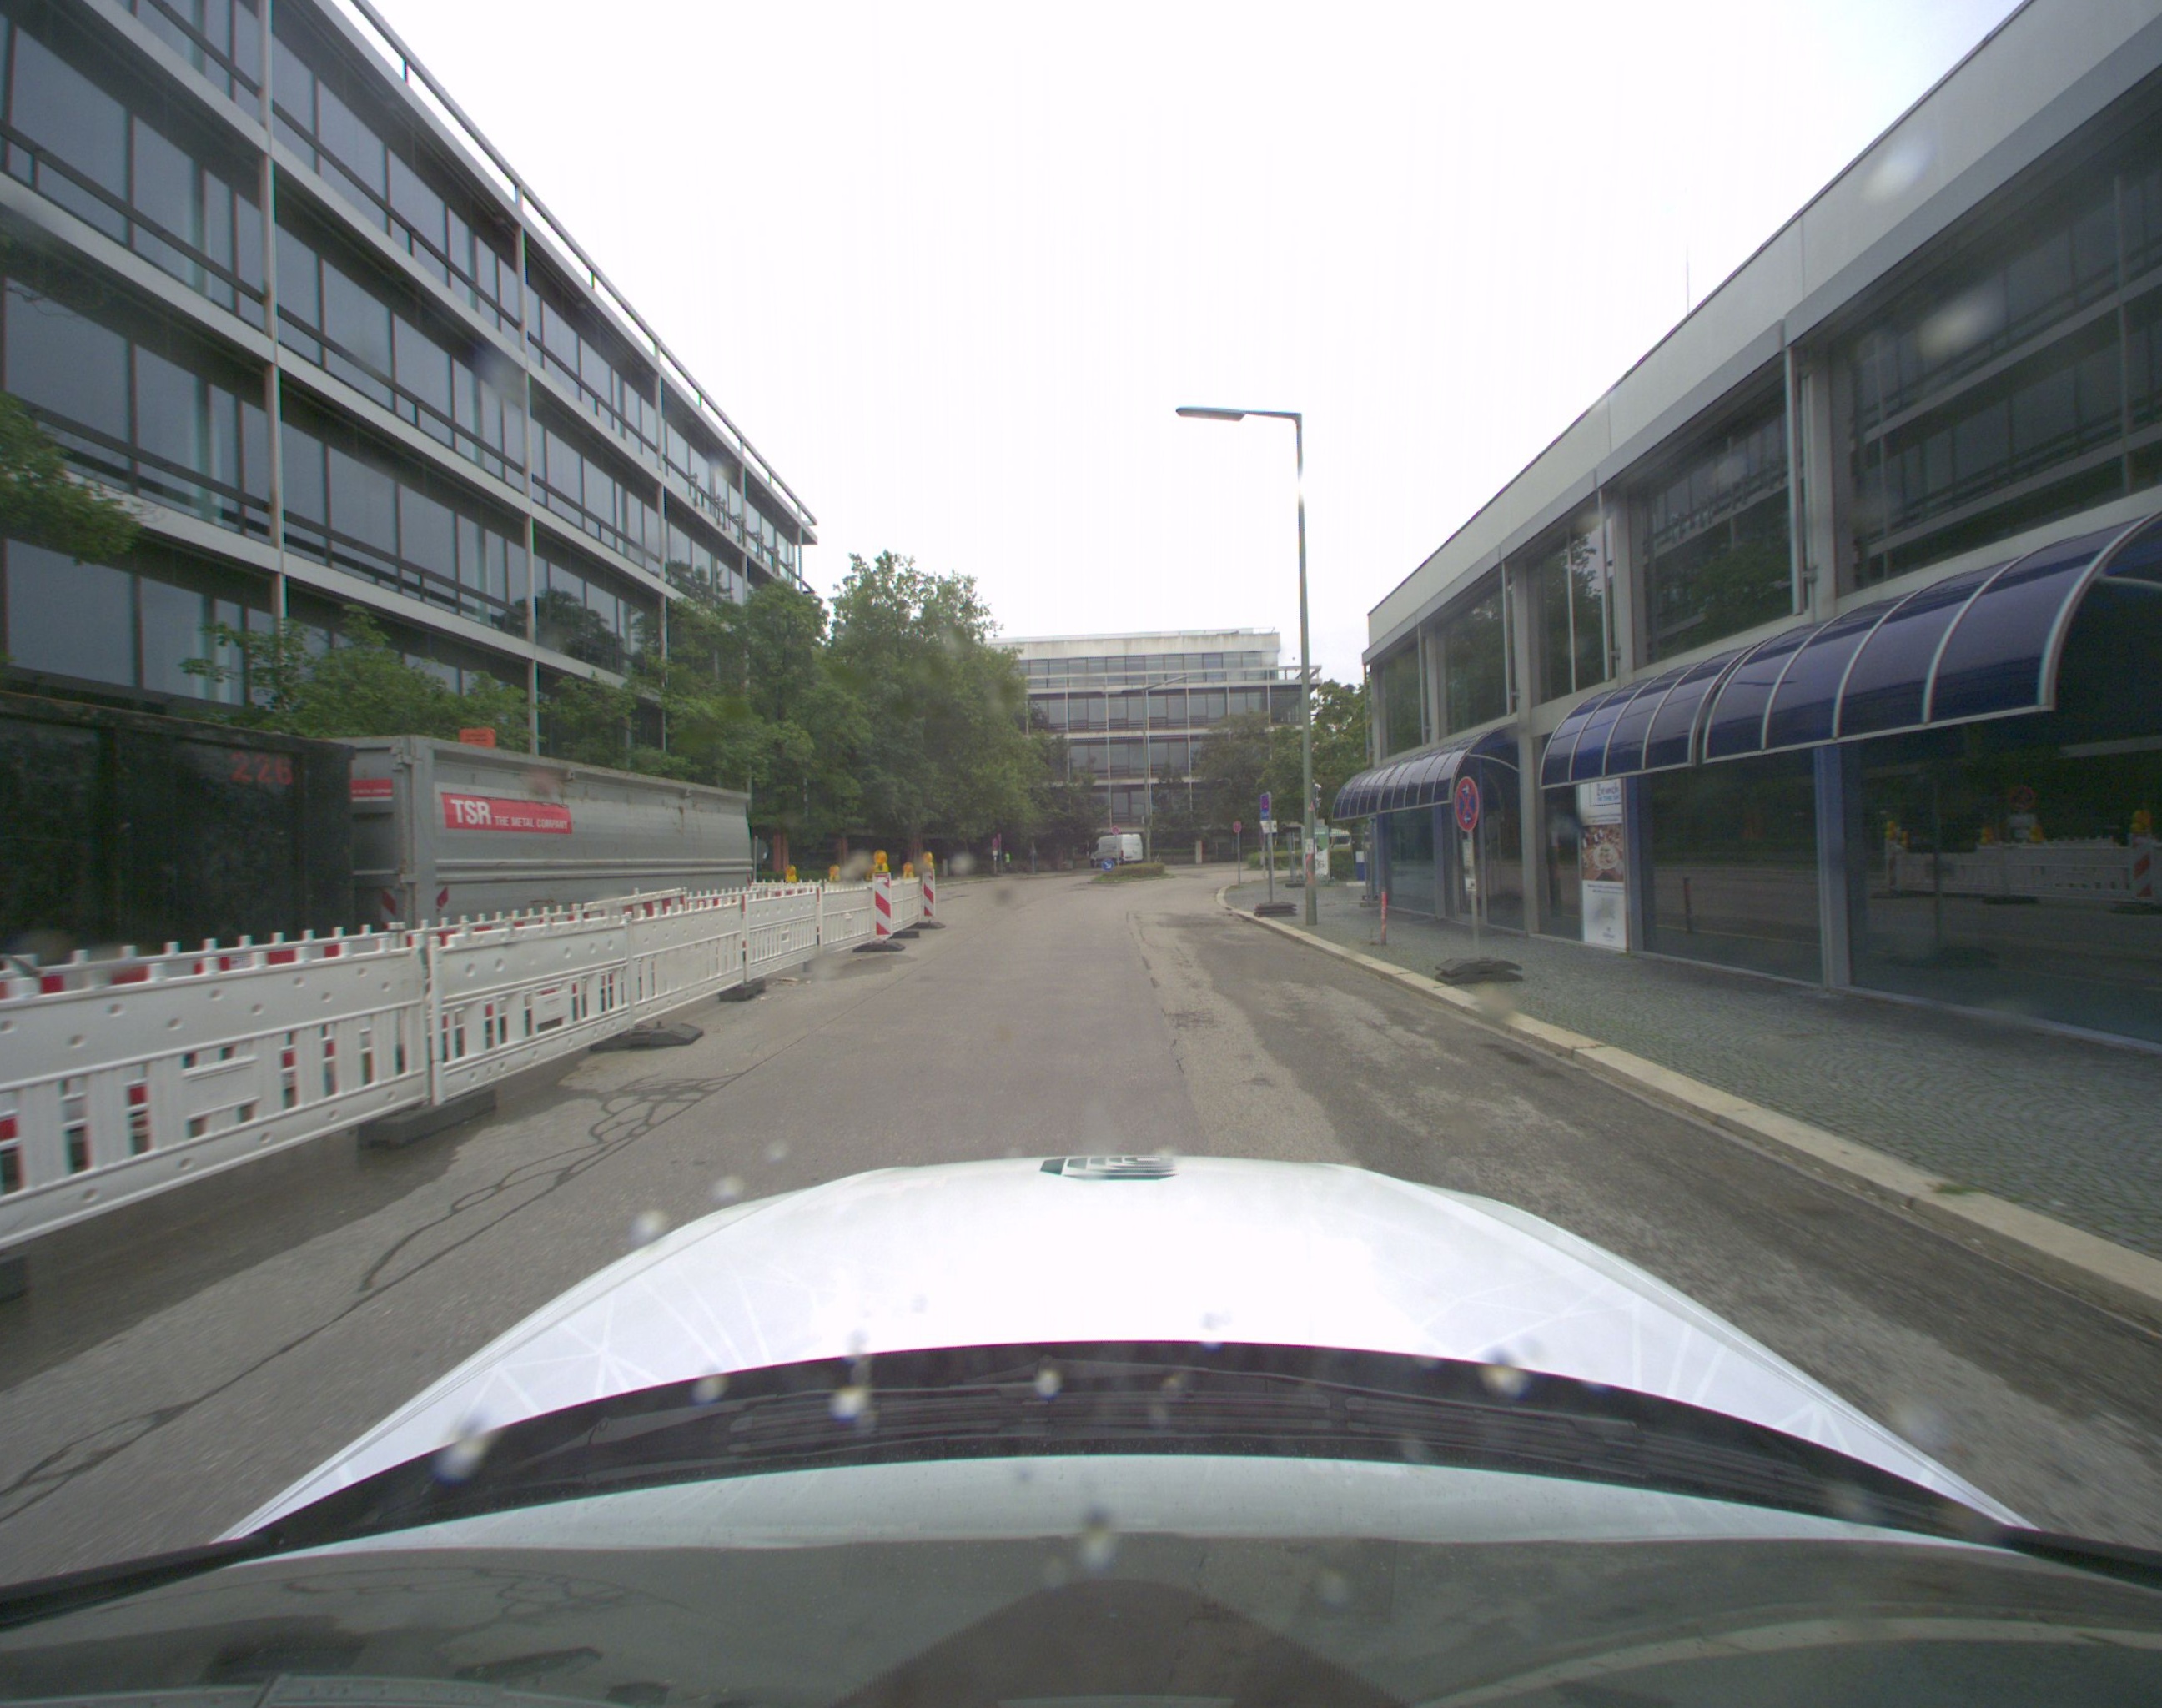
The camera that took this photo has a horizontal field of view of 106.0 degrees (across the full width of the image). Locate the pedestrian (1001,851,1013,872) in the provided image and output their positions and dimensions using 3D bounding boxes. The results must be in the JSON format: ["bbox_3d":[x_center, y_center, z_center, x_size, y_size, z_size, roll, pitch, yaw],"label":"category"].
[{"bbox_3d":[-5.968,0.587,65.722,0.743,1.677,0.678,-2,0,-17],"label":"pedestrian"}]

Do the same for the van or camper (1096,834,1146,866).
[{"bbox_3d":[3.225,-0.316,66.815,2.095,2.492,5.027,-2,0,-23],"label":"van or camper"}]

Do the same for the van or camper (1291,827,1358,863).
[{"bbox_3d":[18.998,-0.678,63.617,4.448,2.585,2.102,-2,0,-9],"label":"van or camper"}]
